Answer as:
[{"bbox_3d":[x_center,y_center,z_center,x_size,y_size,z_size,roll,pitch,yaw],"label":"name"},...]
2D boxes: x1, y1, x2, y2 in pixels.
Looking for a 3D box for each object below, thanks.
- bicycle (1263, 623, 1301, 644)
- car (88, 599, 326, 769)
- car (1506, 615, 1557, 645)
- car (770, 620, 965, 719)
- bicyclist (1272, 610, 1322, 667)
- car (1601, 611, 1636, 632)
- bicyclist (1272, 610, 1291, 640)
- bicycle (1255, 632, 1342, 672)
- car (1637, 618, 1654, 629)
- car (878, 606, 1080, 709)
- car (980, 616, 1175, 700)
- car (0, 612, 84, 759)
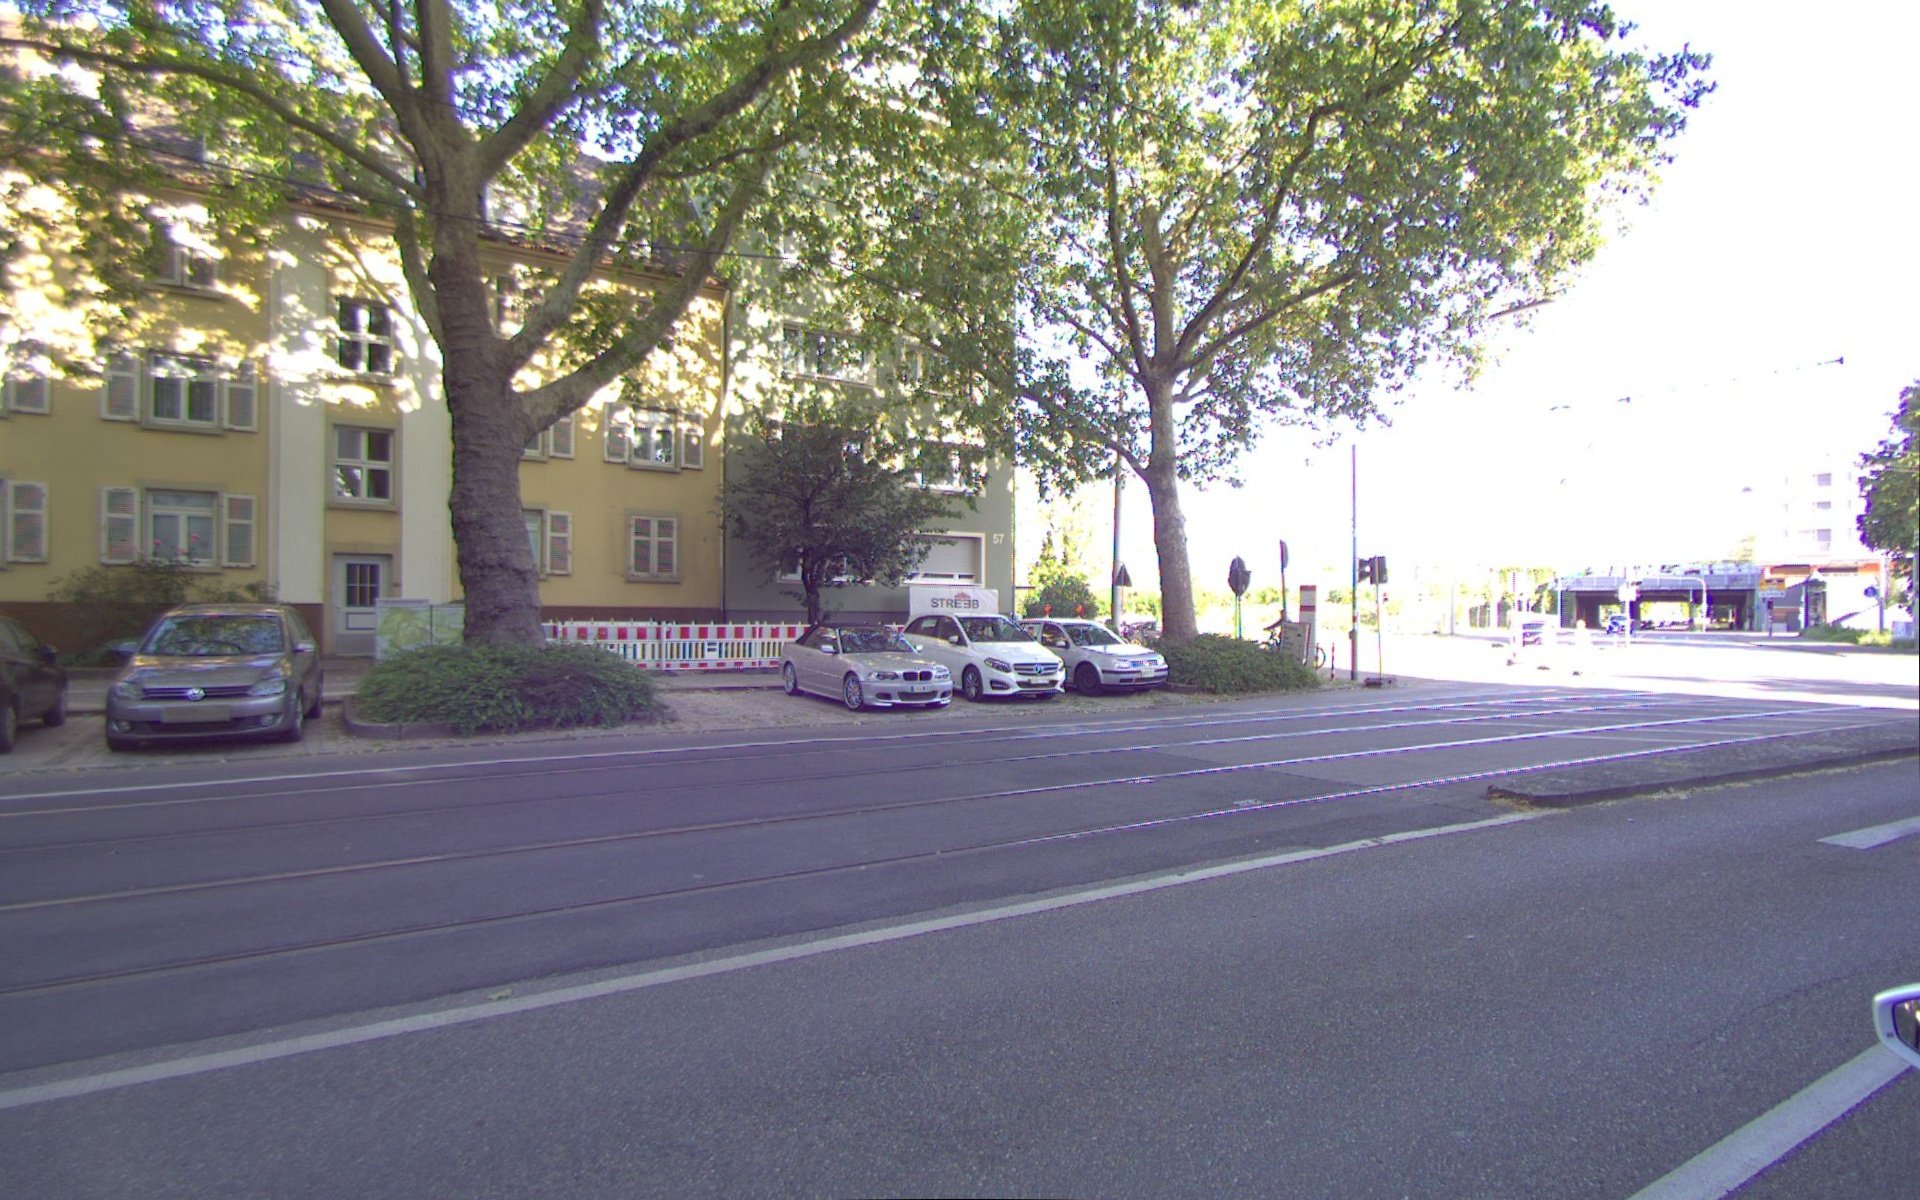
[{"bbox_3d":[17.969,1.860,56.085,0.588,1.108,2.035,1,-1,-44],"label":"bicycle"},{"bbox_3d":[-9.044,0.859,12.426,1.793,1.627,4.169,1,1,-29],"label":"car"},{"bbox_3d":[32.425,1.681,56.940,1.803,1.539,3.876,2,1,40],"label":"car"},{"bbox_3d":[-1.736,1.093,17.435,1.708,1.386,4.219,1,0,-31],"label":"car"},{"bbox_3d":[9.396,1.054,28.004,1.099,1.540,0.918,0,-1,38],"label":"bicyclist"},{"bbox_3d":[57.682,1.889,88.050,2.179,1.847,4.141,0,-1,28],"label":"car"},{"bbox_3d":[17.958,1.398,56.116,0.645,1.616,0.853,1,-1,-44],"label":"bicyclist"},{"bbox_3d":[9.422,1.433,28.004,2.163,1.047,0.831,0,-1,38],"label":"bicycle"},{"bbox_3d":[98.826,3.358,144.760,1.967,1.623,4.234,0,-1,34],"label":"car"},{"bbox_3d":[0.214,0.993,19.479,1.777,1.640,4.587,1,1,-30],"label":"car"},{"bbox_3d":[2.293,1.108,20.824,1.656,1.448,4.490,1,0,-30],"label":"car"},{"bbox_3d":[-11.401,0.880,11.297,1.723,1.448,3.545,1,0,-31],"label":"car"}]
